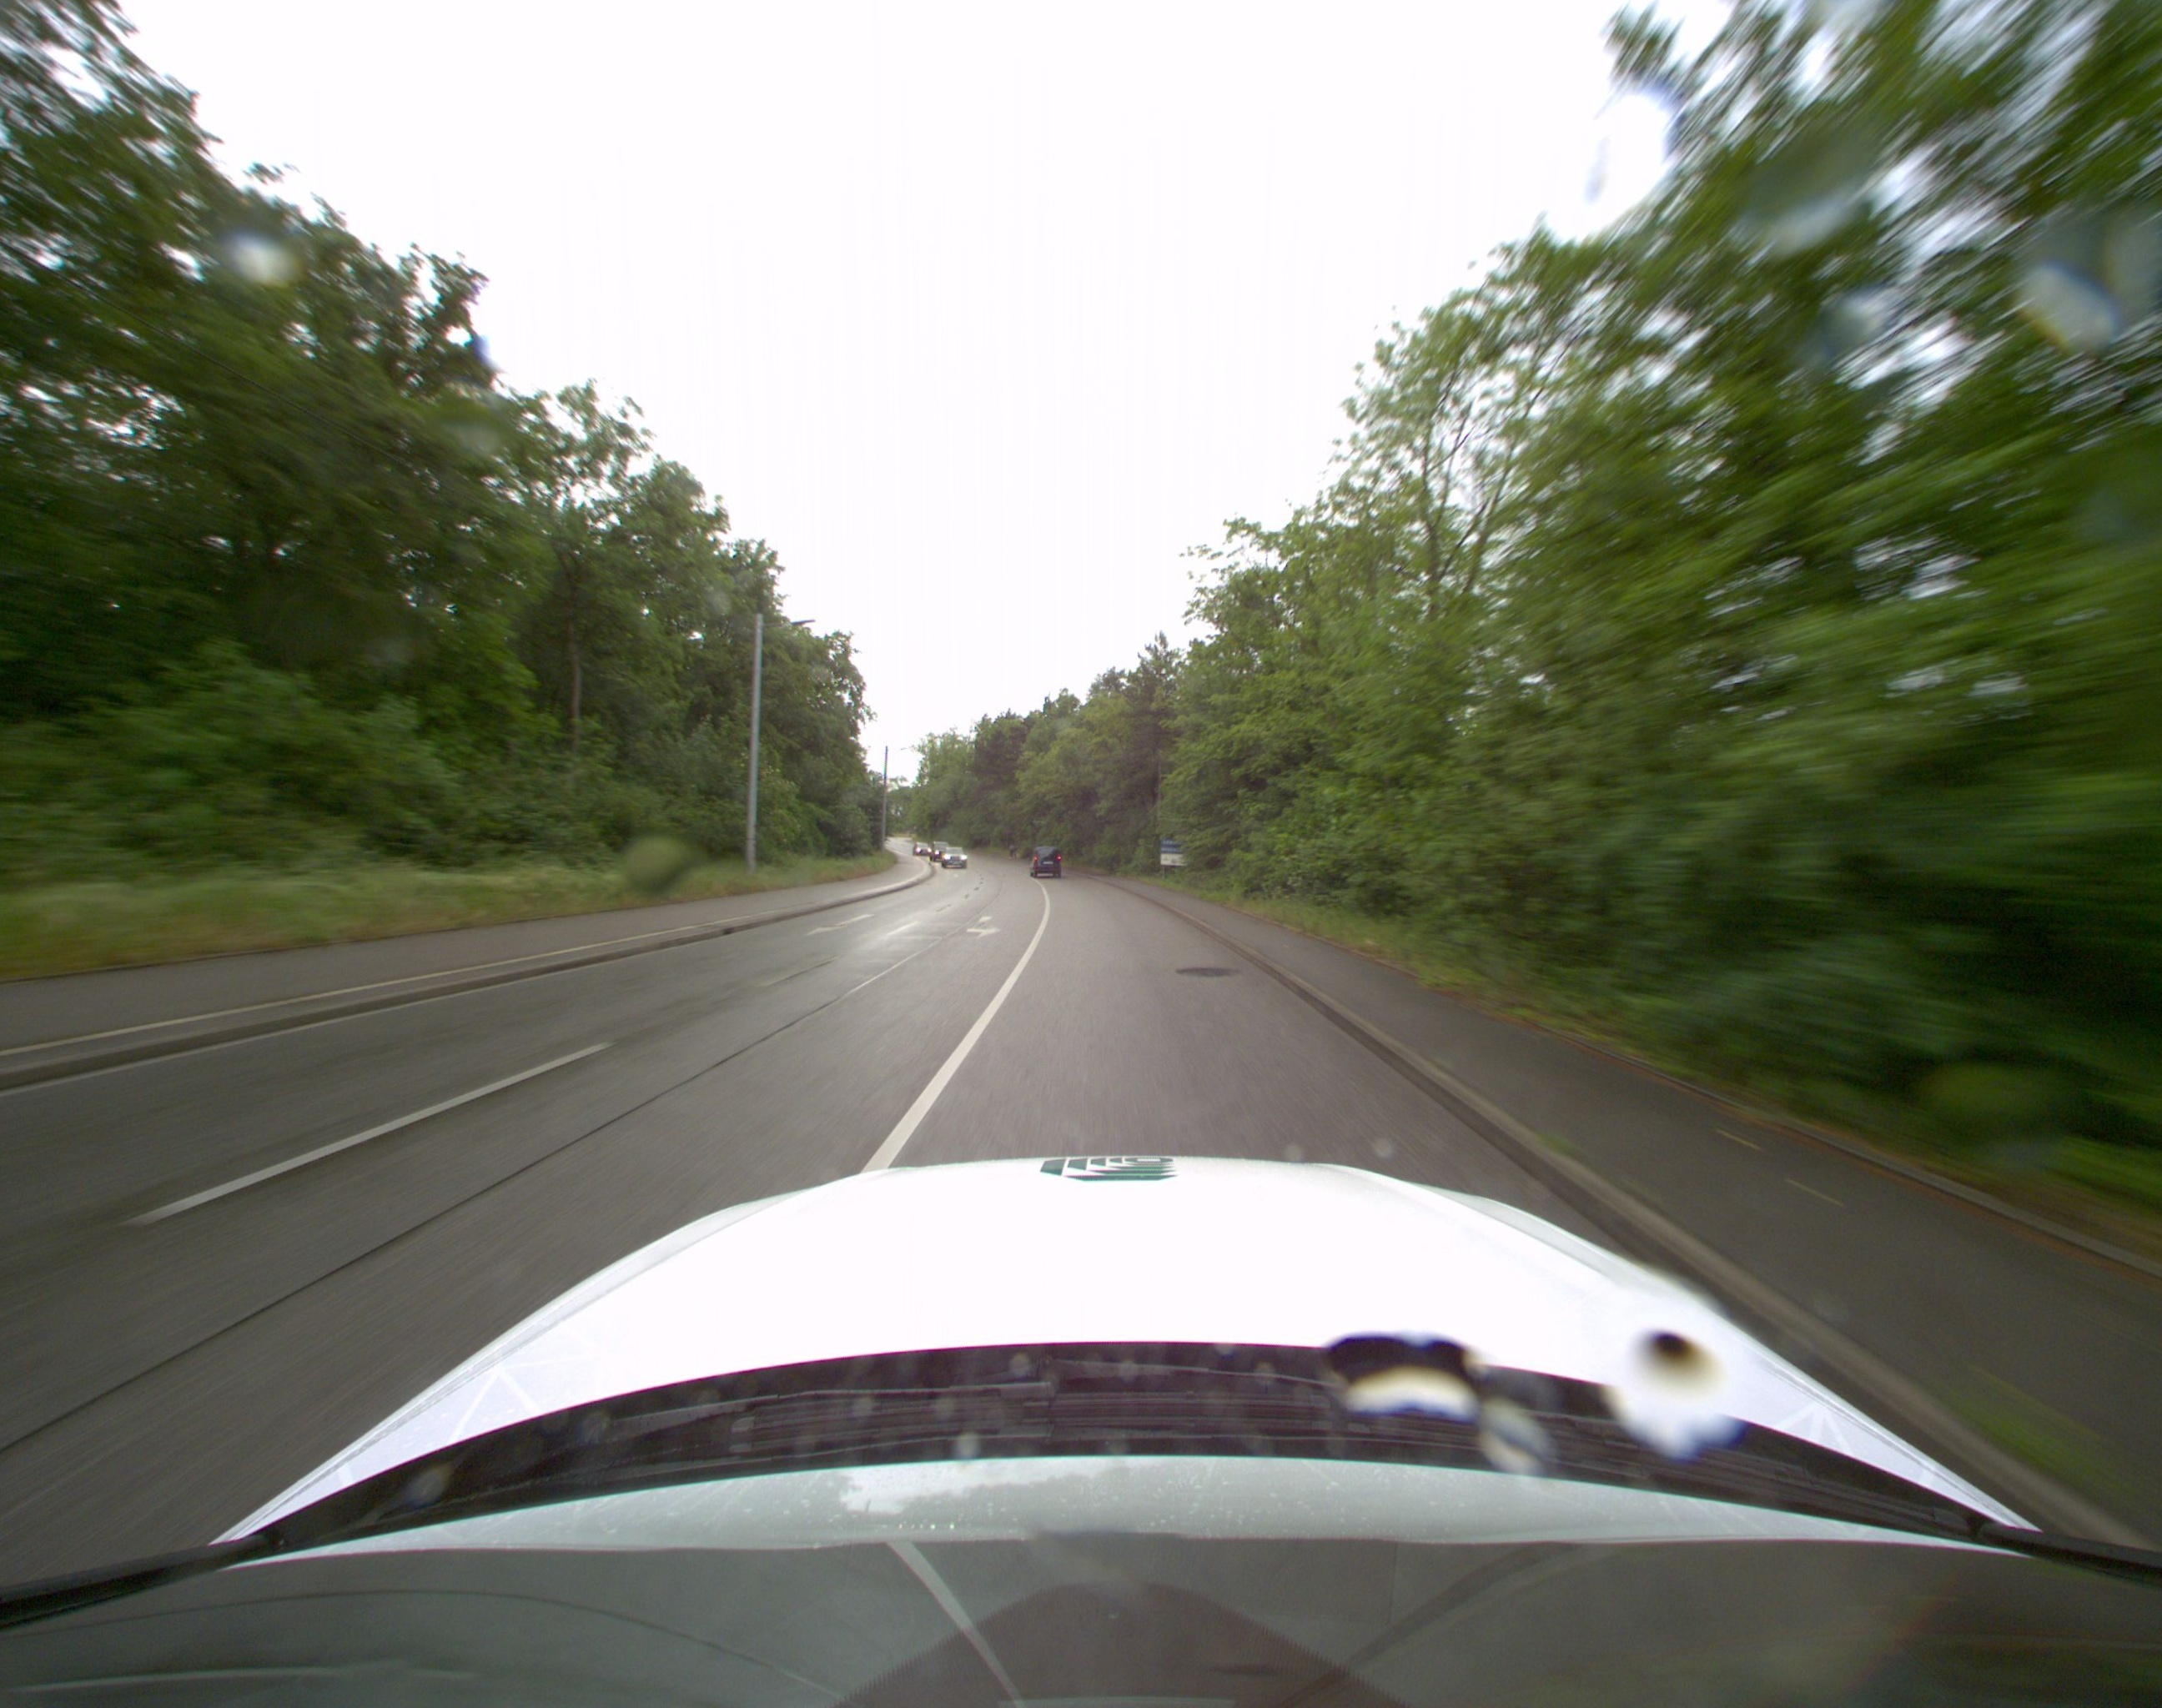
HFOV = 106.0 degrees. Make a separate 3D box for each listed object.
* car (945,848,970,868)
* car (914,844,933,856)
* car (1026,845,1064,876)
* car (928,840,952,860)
[{"bbox_3d":[-10.220,0.276,67.137,1.809,1.594,4.501,0,0,-11],"label":"car"},{"bbox_3d":[-18.736,-0.464,96.811,1.832,1.440,3.976,1,0,-18],"label":"car"},{"bbox_3d":[-2.214,0.364,49.225,1.826,1.793,3.988,-1,1,-9],"label":"car"},{"bbox_3d":[-14.063,-0.335,81.041,1.830,1.843,4.687,-2,-1,-15],"label":"car"}]
